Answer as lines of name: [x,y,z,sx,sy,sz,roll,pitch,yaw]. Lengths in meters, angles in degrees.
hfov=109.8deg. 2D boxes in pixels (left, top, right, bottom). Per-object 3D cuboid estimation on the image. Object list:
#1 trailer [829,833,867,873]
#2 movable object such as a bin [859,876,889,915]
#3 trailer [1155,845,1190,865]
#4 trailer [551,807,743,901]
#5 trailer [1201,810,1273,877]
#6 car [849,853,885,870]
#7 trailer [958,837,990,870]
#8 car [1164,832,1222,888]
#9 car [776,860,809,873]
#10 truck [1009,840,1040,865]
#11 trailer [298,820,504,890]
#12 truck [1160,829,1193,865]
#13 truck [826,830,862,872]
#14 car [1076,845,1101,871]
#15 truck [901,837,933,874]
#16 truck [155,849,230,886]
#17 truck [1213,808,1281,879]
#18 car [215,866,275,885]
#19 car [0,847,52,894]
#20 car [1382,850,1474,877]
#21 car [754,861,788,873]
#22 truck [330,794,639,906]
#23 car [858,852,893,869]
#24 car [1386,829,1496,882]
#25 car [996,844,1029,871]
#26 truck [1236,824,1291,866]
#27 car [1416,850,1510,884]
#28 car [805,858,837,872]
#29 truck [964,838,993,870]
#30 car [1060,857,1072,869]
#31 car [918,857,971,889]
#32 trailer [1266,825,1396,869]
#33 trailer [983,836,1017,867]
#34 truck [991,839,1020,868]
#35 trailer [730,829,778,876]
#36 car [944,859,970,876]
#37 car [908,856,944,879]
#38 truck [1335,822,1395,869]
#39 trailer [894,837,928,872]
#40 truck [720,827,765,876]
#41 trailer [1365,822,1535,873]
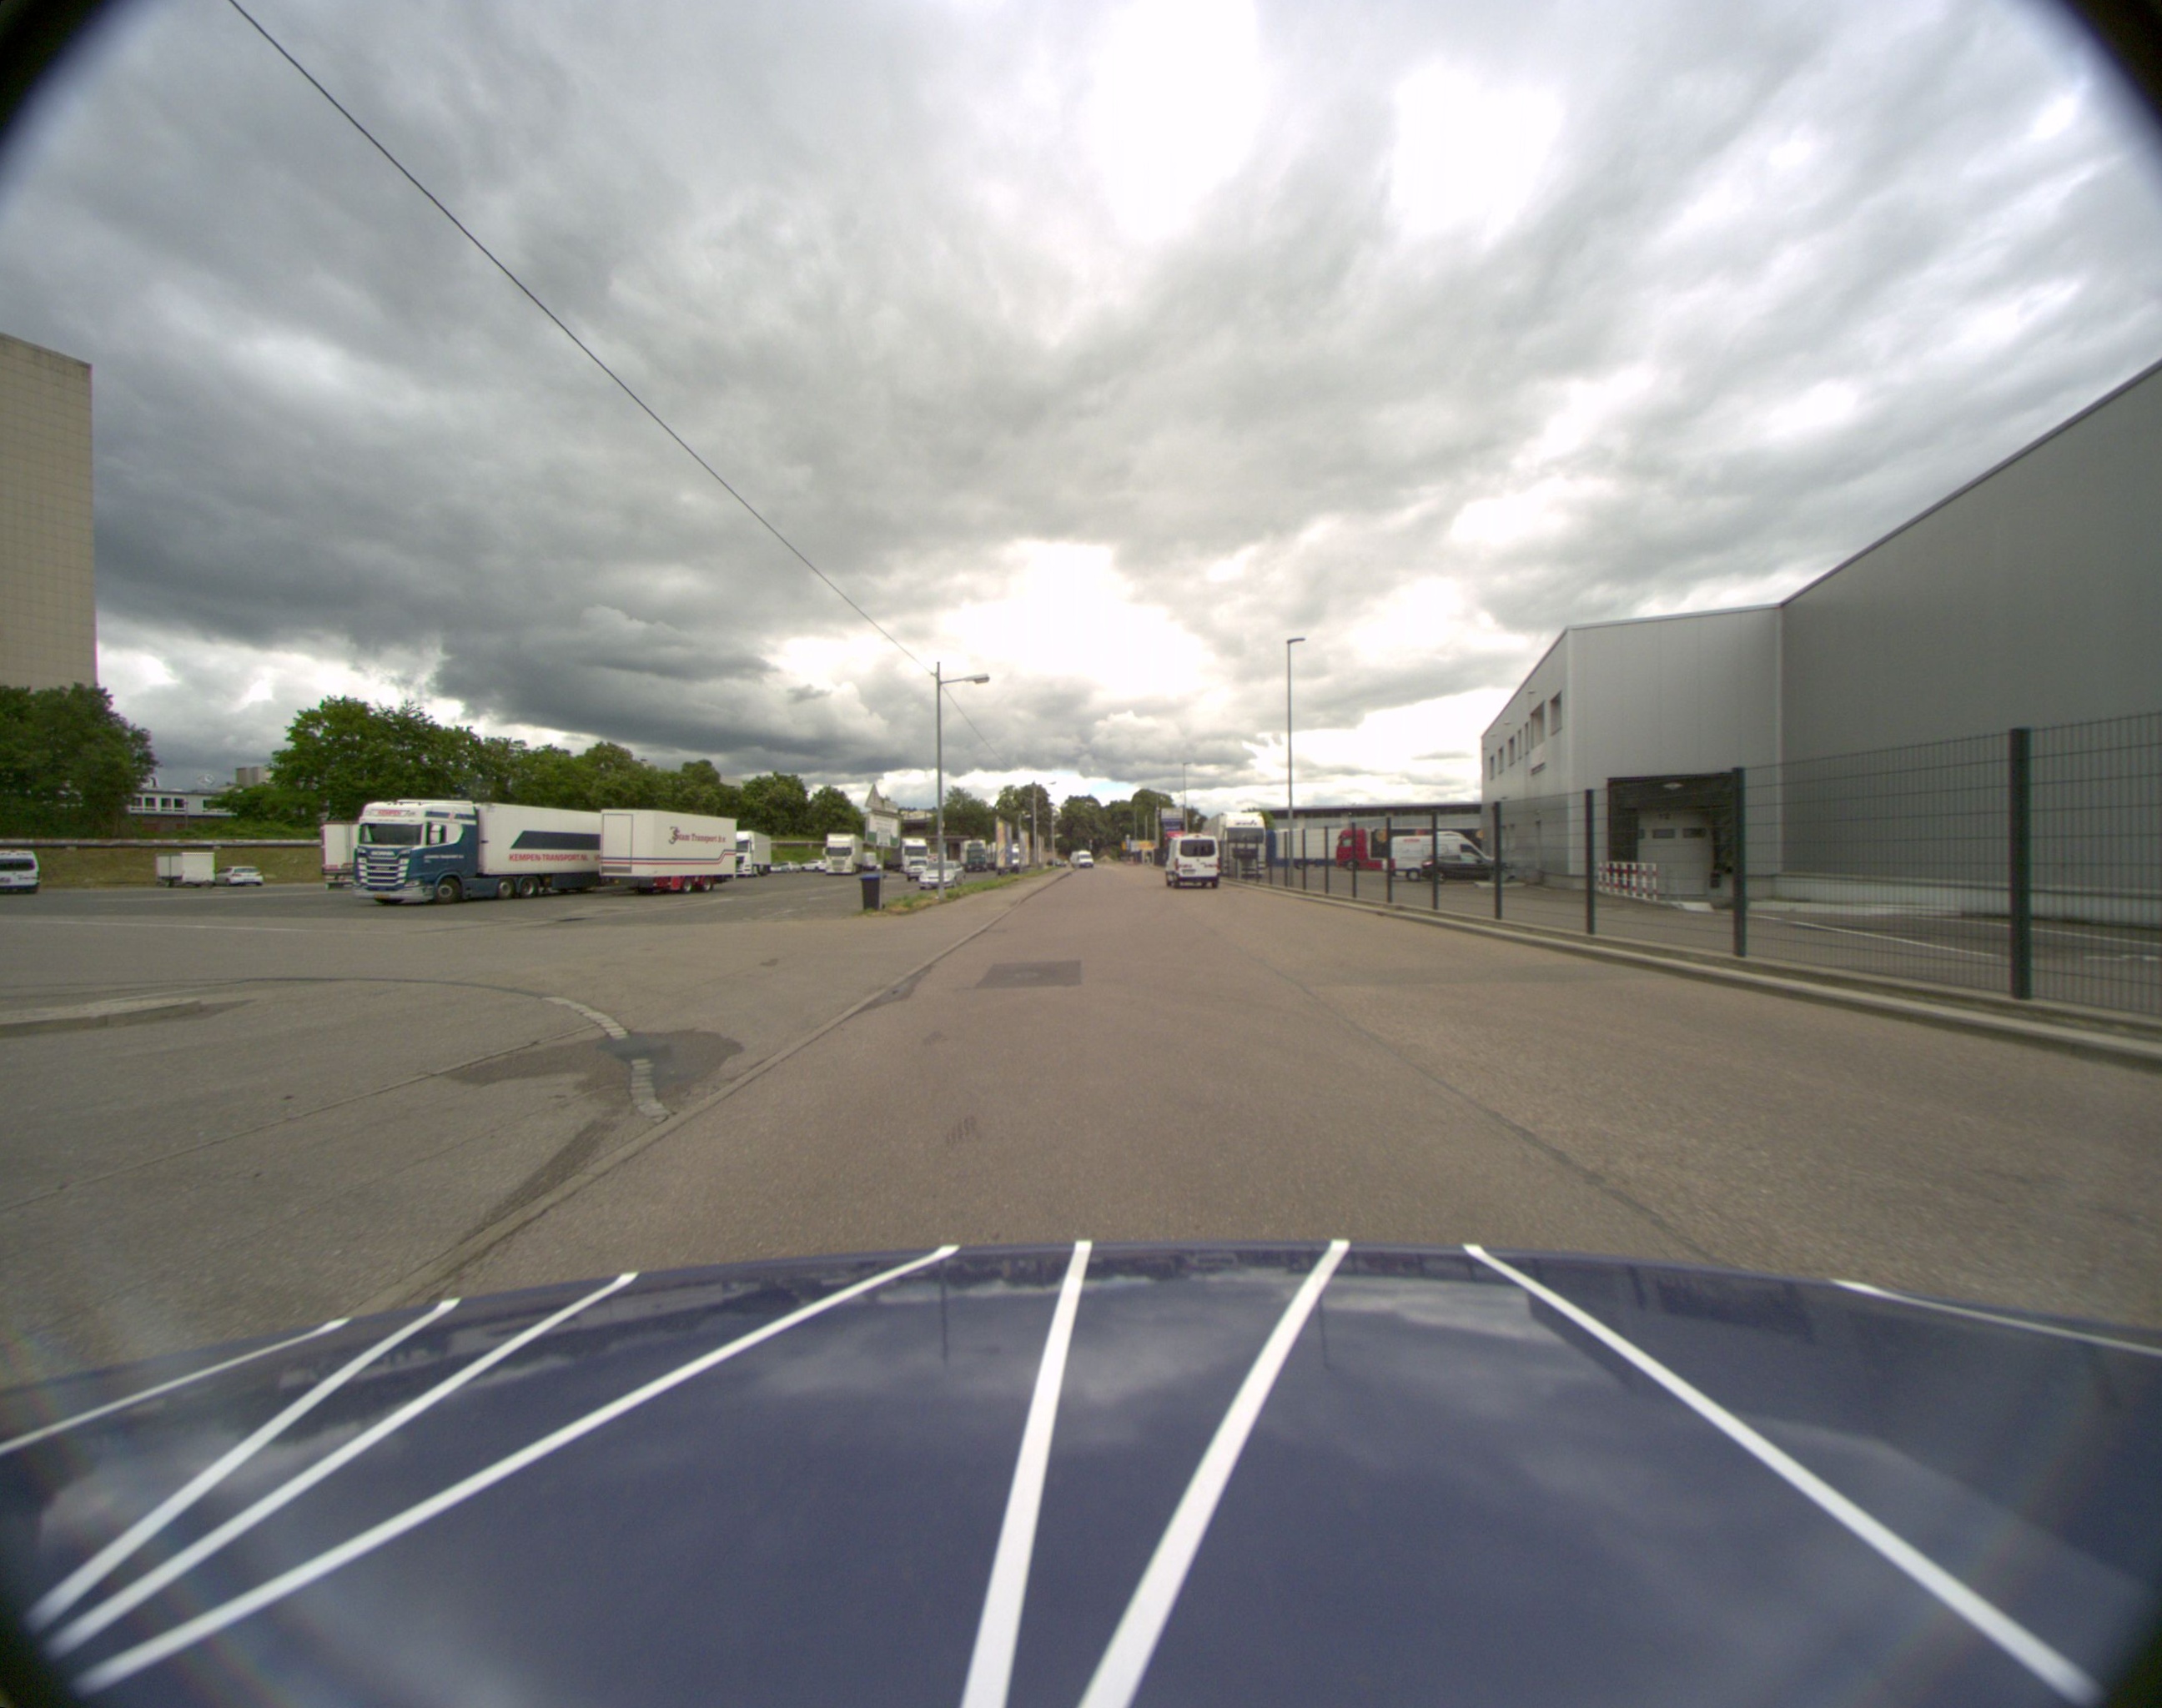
trailer: [-25.121,-0.087,82.464,2.841,4.071,13.381,0,0,-13]
movable object such as a bin: [-5.885,1.177,21.632,0.716,1.075,0.662,-1,0,-5]
trailer: [10.583,0.049,89.048,3.045,2.179,12.048,1,0,2]
trailer: [-20.889,-0.010,37.728,2.964,3.944,10.408,1,0,4]
trailer: [10.842,-0.674,54.384,3.366,4.136,13.853,1,0,5]
car: [-31.461,1.057,111.702,4.906,2.435,2.375,-1,0,33]
trailer: [-14.560,-0.037,102.345,2.841,4.071,13.379,0,0,-14]
car: [5.177,0.283,35.832,1.998,2.402,5.257,-2,0,1]
car: [-38.258,1.650,100.748,3.989,1.599,2.004,0,0,31]
truck: [-8.794,-0.195,116.623,2.832,3.690,9.090,-1,0,-17]
trailer: [-43.323,0.053,49.507,3.644,3.887,13.723,-1,0,-12]
truck: [10.408,-0.770,83.404,3.021,3.827,5.670,1,0,2]
truck: [-23.771,-0.293,76.482,2.875,4.071,6.749,0,0,-12]
car: [0.990,0.596,113.034,3.339,3.586,8.668,-1,0,-2]
truck: [-18.892,0.125,87.288,2.877,4.071,6.746,0,0,-18]
truck: [-64.868,0.941,55.458,5.941,2.476,2.286,1,1,27]
truck: [10.227,-0.629,47.411,3.366,4.136,5.629,1,1,5]
car: [-62.927,1.581,57.184,4.137,1.346,2.004,0,0,28]
car: [-66.532,0.989,47.589,5.073,2.820,2.112,-1,0,32]
car: [23.858,0.609,52.419,5.679,1.799,1.947,1,1,23]
car: [-40.533,1.707,99.344,4.209,1.599,2.004,0,0,31]
truck: [-25.003,-0.157,33.533,3.082,3.944,13.069,1,0,1]
car: [-30.999,0.950,114.518,4.906,2.435,2.375,-1,0,33]
car: [20.430,0.112,43.401,5.422,2.714,2.245,-2,0,20]
car: [-6.275,0.313,70.187,2.091,2.401,6.084,-1,0,3]
truck: [18.514,-0.886,77.401,4.877,4.109,3.048,1,1,2]
car: [19.329,0.645,38.638,4.071,1.567,1.947,-2,0,23]
car: [-35.873,1.519,104.804,3.989,1.862,2.004,0,0,31]
truck: [-13.055,0.004,96.413,2.876,3.990,6.748,0,0,-14]
car: [-2.482,1.476,125.239,1.712,2.002,3.888,-1,0,-4]
car: [-6.914,0.925,38.878,1.778,1.455,4.560,-1,0,1]
trailer: [24.830,-0.747,75.891,12.019,4.109,3.053,1,1,20]
trailer: [-11.574,-0.275,106.729,2.841,4.071,13.379,0,0,-14]
truck: [-10.006,-0.063,100.543,2.876,3.609,6.748,0,0,-14]
trailer: [-31.361,-0.125,73.265,2.617,4.071,12.427,0,0,-16]
car: [-11.445,1.226,70.455,1.497,1.486,4.053,-1,0,3]
car: [-11.543,0.947,56.821,1.769,1.562,4.000,-3,0,1]
truck: [26.184,-0.761,69.971,4.869,4.180,3.053,1,1,24]
trailer: [-21.198,0.103,94.149,2.842,4.071,13.374,0,0,-19]
truck: [-29.468,-0.184,66.409,2.617,4.071,6.747,0,0,-16]
trailer: [32.316,-0.650,67.297,13.157,4.189,3.053,1,1,23]
